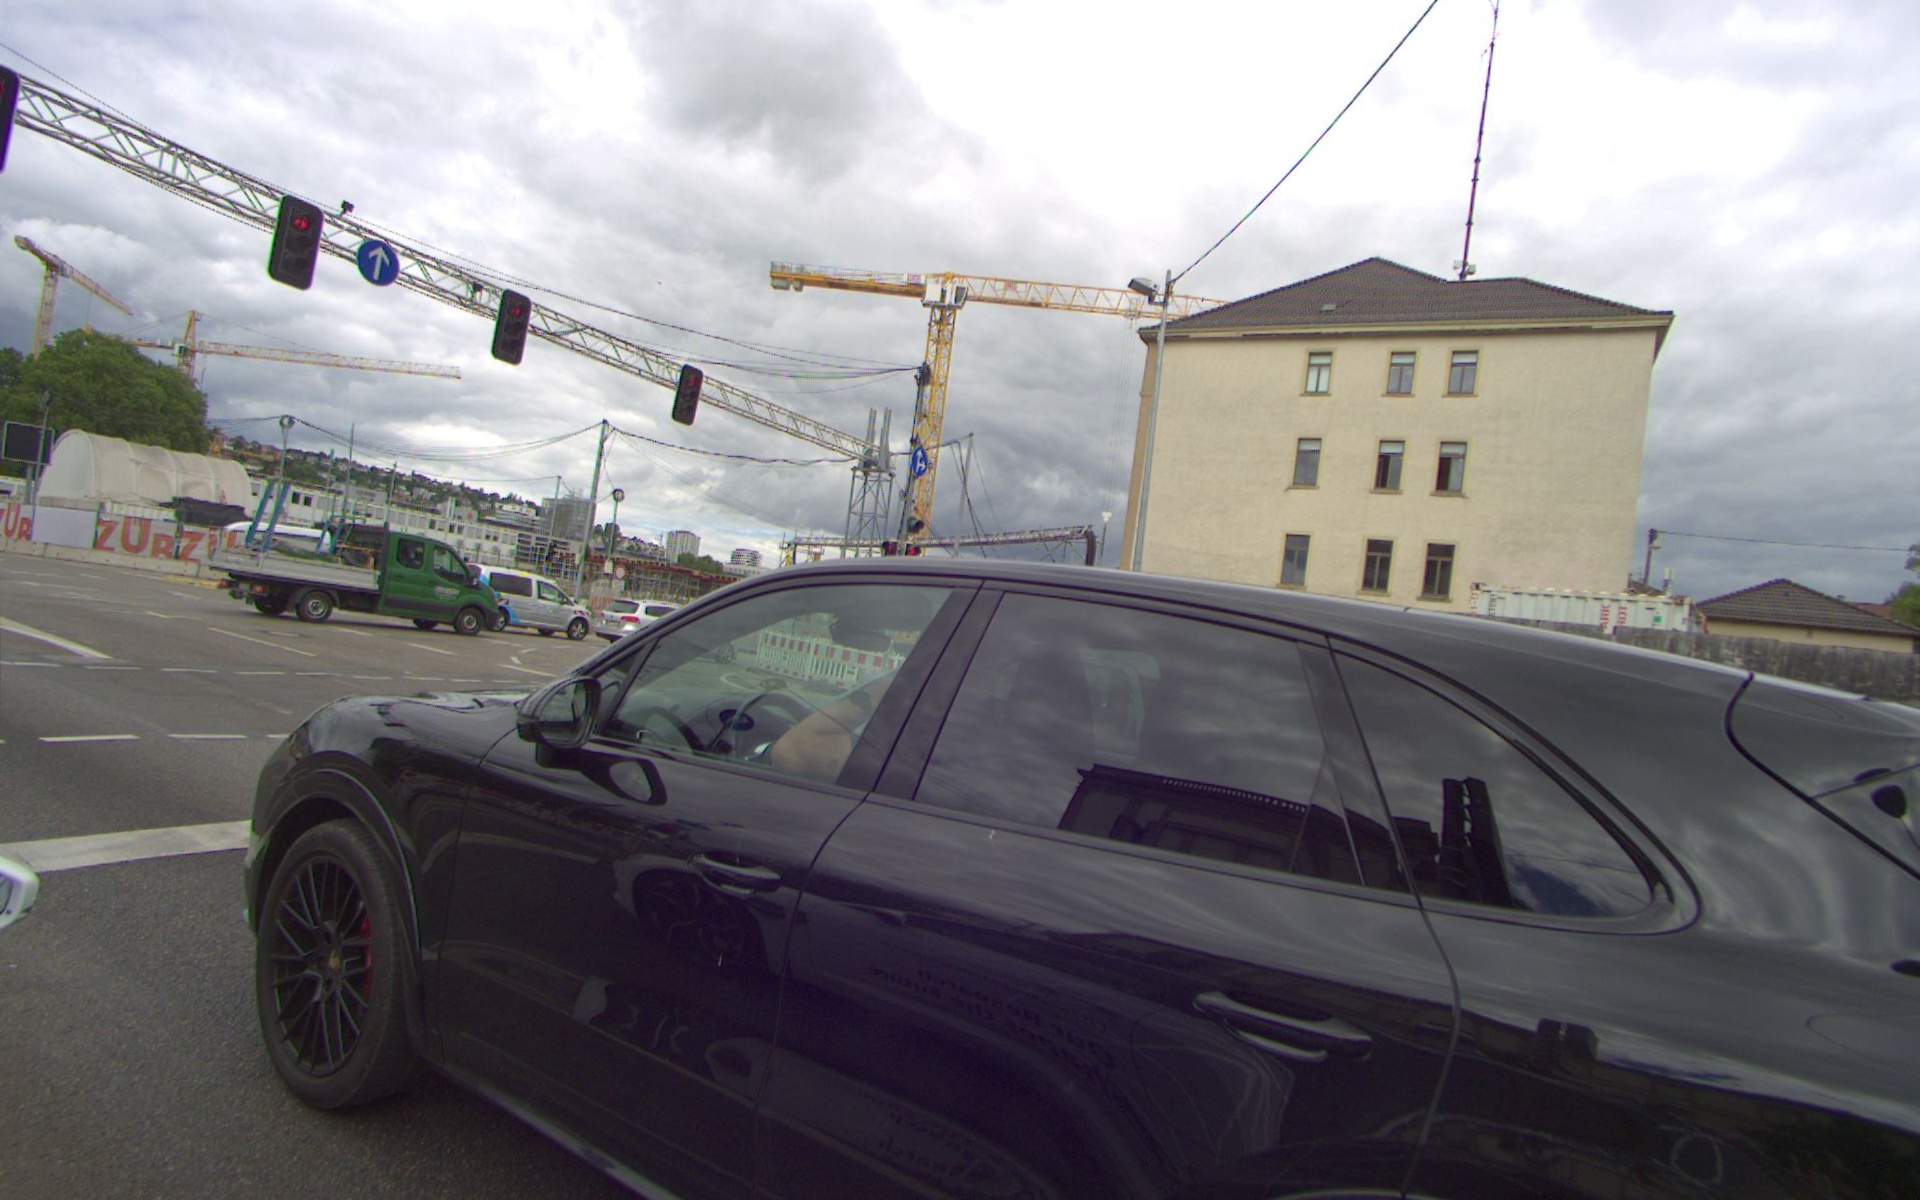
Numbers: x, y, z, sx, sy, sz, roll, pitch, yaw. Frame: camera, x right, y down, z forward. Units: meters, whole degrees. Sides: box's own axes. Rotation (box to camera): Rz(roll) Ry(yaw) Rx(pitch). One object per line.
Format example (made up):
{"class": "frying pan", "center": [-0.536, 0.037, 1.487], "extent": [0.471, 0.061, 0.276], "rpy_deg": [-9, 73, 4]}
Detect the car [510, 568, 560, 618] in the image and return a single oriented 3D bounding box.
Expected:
{"class": "car", "center": [-19.160, -0.322, 45.291], "extent": [1.757, 1.976, 3.108], "rpy_deg": [8, -2, -25]}

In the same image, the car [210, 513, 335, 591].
{"class": "car", "center": [-29.570, -2.040, 43.363], "extent": [1.660, 2.692, 3.979], "rpy_deg": [6, -2, 45]}

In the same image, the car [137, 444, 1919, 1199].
{"class": "car", "center": [-0.045, 0.681, 2.659], "extent": [4.410, 1.735, 1.828], "rpy_deg": [6, -2, 32]}

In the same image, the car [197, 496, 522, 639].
{"class": "car", "center": [-13.263, -0.599, 22.756], "extent": [2.264, 2.331, 5.773], "rpy_deg": [6, -2, 29]}

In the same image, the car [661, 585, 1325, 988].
{"class": "car", "center": [0.118, 0.978, 6.657], "extent": [3.934, 1.644, 1.679], "rpy_deg": [6, -2, 32]}

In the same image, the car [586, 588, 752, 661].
{"class": "car", "center": [-8.554, 0.788, 29.994], "extent": [1.654, 1.643, 4.719], "rpy_deg": [6, -2, 32]}

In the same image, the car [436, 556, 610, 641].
{"class": "car", "center": [-12.841, 0.008, 29.790], "extent": [1.801, 1.903, 4.273], "rpy_deg": [6, -2, 34]}

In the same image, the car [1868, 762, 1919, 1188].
{"class": "car", "center": [5.769, 1.678, 2.563], "extent": [4.729, 1.644, 1.828], "rpy_deg": [6, -2, 32]}

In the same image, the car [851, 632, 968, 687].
{"class": "car", "center": [-1.865, 2.331, 39.026], "extent": [1.988, 1.643, 4.816], "rpy_deg": [6, -2, 33]}

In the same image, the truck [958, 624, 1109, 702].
{"class": "truck", "center": [3.751, 3.152, 48.498], "extent": [2.586, 2.835, 8.989], "rpy_deg": [7, -3, 37]}
